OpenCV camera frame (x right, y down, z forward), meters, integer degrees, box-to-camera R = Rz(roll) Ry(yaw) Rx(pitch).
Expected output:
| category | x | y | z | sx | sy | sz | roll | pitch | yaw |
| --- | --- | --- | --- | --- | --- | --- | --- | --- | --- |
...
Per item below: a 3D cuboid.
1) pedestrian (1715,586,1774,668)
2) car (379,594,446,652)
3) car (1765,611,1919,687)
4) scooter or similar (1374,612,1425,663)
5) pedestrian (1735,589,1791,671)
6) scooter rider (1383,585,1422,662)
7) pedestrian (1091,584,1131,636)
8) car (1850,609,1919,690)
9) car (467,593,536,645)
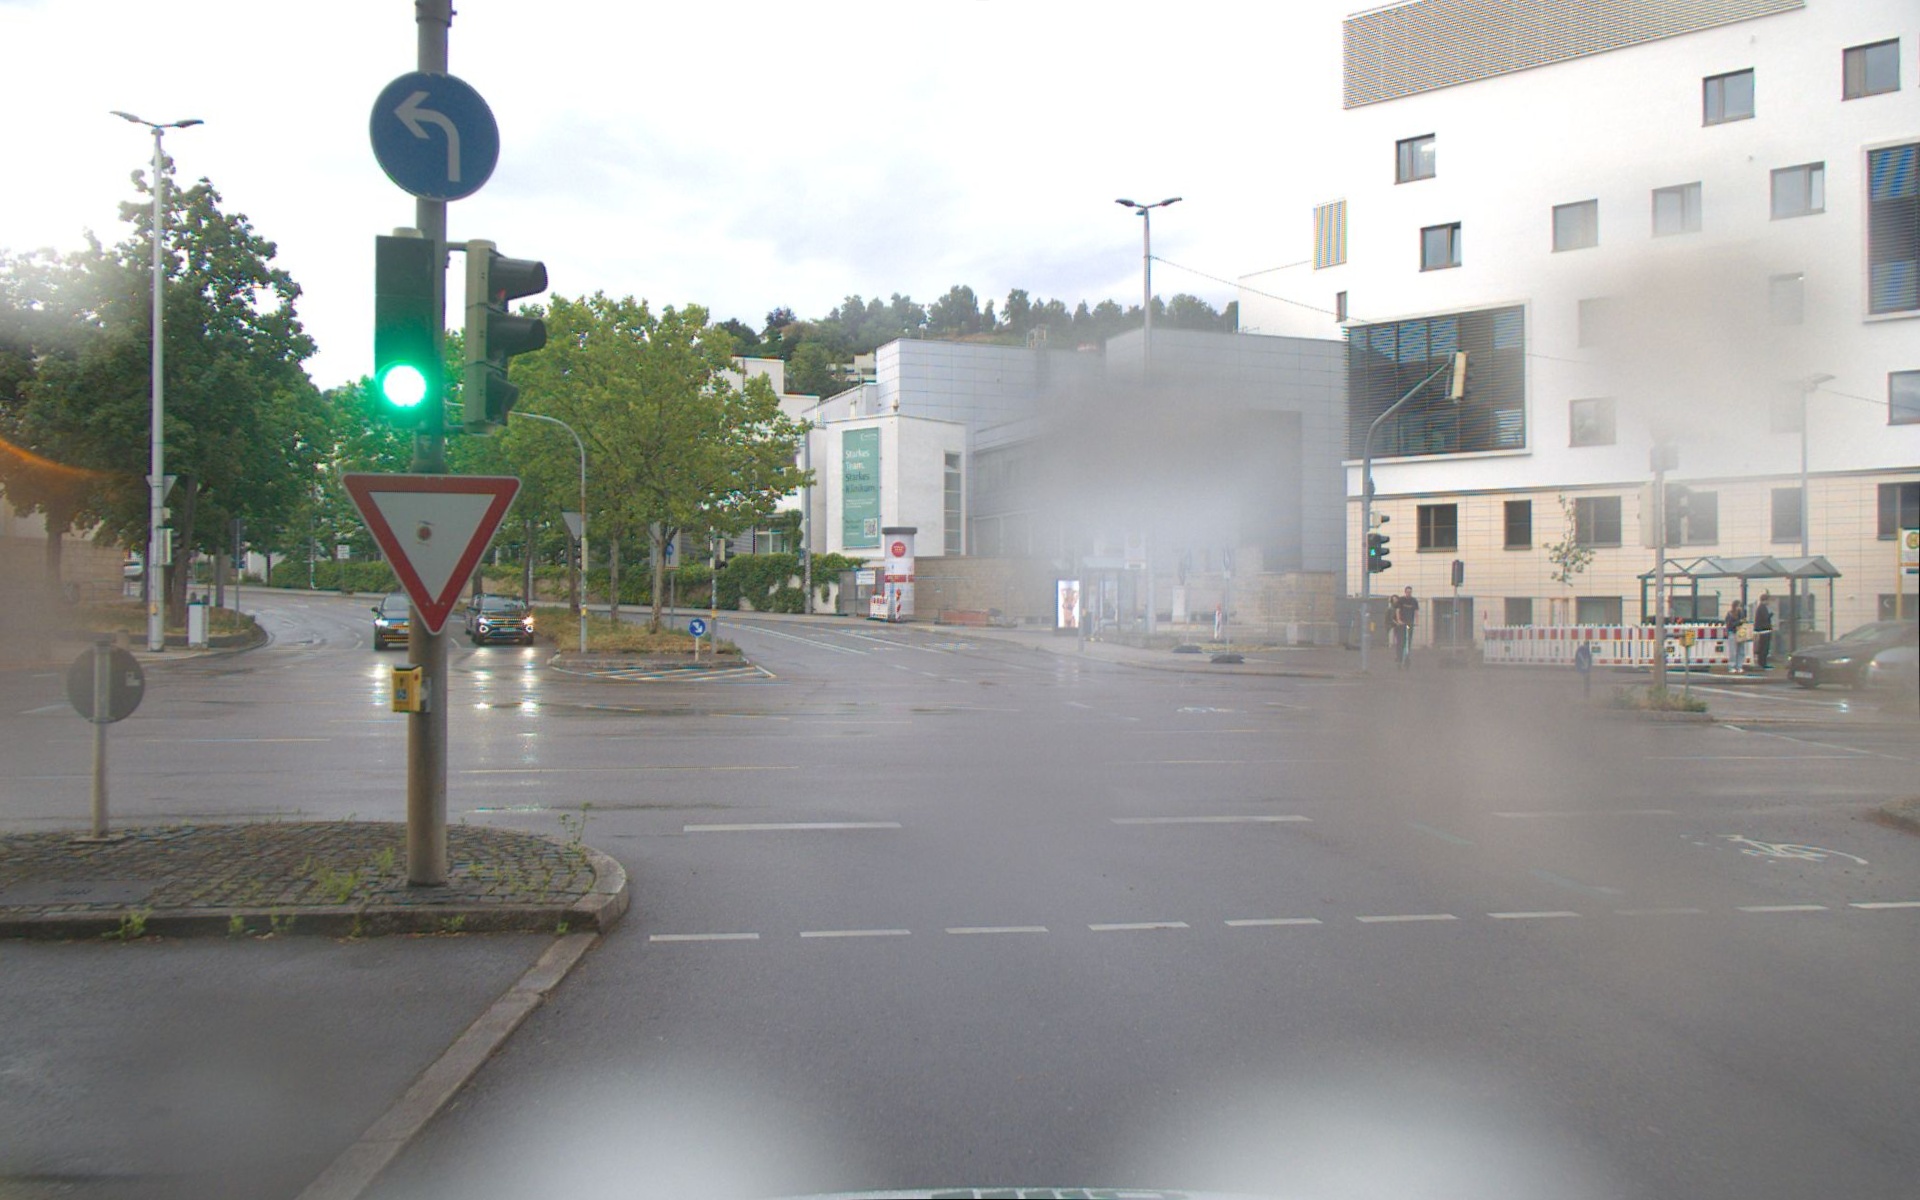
| category | x | y | z | sx | sy | sz | roll | pitch | yaw |
| --- | --- | --- | --- | --- | --- | --- | --- | --- | --- |
| pedestrian | 18.350 | 0.644 | 38.698 | 0.934 | 1.872 | 0.821 | 2 | -2 | -12 |
| car | -16.421 | 0.658 | 49.768 | 1.838 | 1.592 | 4.255 | 0 | 1 | -17 |
| car | 19.047 | 1.030 | 34.414 | 3.921 | 1.469 | 1.790 | 2 | 0 | -16 |
| scooter or similar | 11.240 | 0.952 | 42.297 | 0.582 | 1.260 | 1.305 | 2 | -2 | -21 |
| pedestrian | 19.885 | 0.742 | 40.982 | 0.980 | 1.969 | 0.955 | 1 | -2 | 9 |
| scooter rider | 11.306 | 0.604 | 42.249 | 0.713 | 1.916 | 0.628 | 2 | -2 | -21 |
| pedestrian | 5.283 | 0.353 | 57.849 | 1.232 | 1.749 | 1.016 | 2 | -2 | -2 |
| car | 19.188 | 0.975 | 31.358 | 3.921 | 1.469 | 1.790 | 2 | 0 | -16 |
| car | -14.928 | 0.585 | 53.734 | 1.764 | 1.612 | 3.973 | 0 | 0 | -22 |
